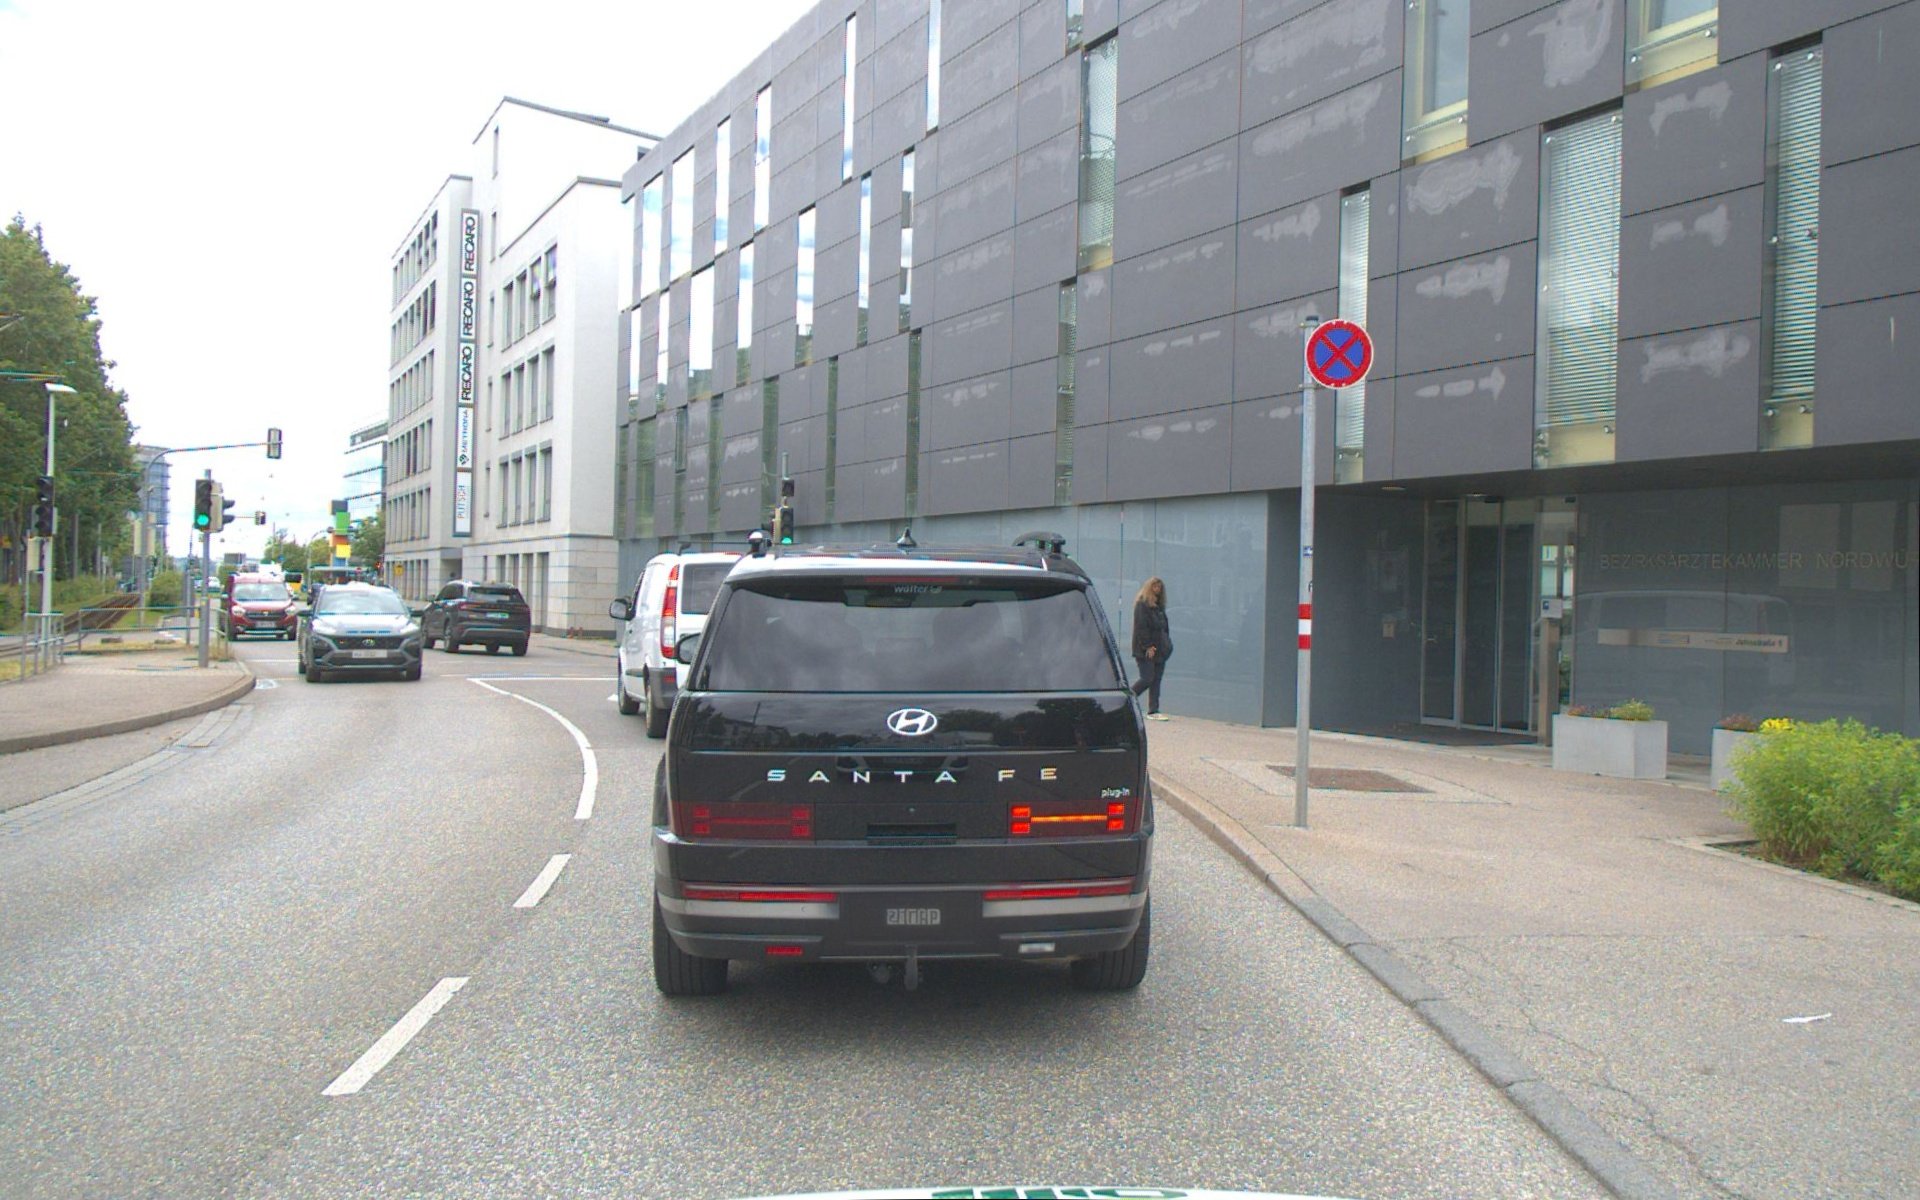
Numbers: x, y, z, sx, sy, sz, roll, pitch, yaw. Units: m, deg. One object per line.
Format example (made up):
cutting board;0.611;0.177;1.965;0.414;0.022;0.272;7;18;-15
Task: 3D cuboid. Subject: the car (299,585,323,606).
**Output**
car;-52.814;-0.356;134.625;1.735;1.637;4.159;1;0;-22

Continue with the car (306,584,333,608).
car;-45.772;-0.291;118.147;1.735;1.637;4.159;1;0;-22

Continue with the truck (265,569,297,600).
truck;-60.045;-1.351;146.231;2.139;2.661;5.747;1;0;-26

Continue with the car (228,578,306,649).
car;-19.083;0.347;45.447;1.661;1.840;4.314;-1;0;-27

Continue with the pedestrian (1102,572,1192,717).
pedestrian;2.306;0.540;20.363;0.846;1.724;0.712;2;-1;30

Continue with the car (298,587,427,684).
car;-10.213;0.544;28.109;1.745;1.504;3.969;-1;0;-25

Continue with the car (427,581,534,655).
car;-11.293;0.392;38.767;1.738;1.637;4.153;1;0;-26

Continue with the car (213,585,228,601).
car;-90.330;-0.821;202.014;1.645;1.915;3.969;1;0;-24

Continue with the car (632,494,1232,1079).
car;-0.314;0.565;7.334;1.872;1.780;4.390;0;0;-7

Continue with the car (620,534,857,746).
car;-2.586;0.385;18.304;1.901;2.029;4.514;1;0;-17
